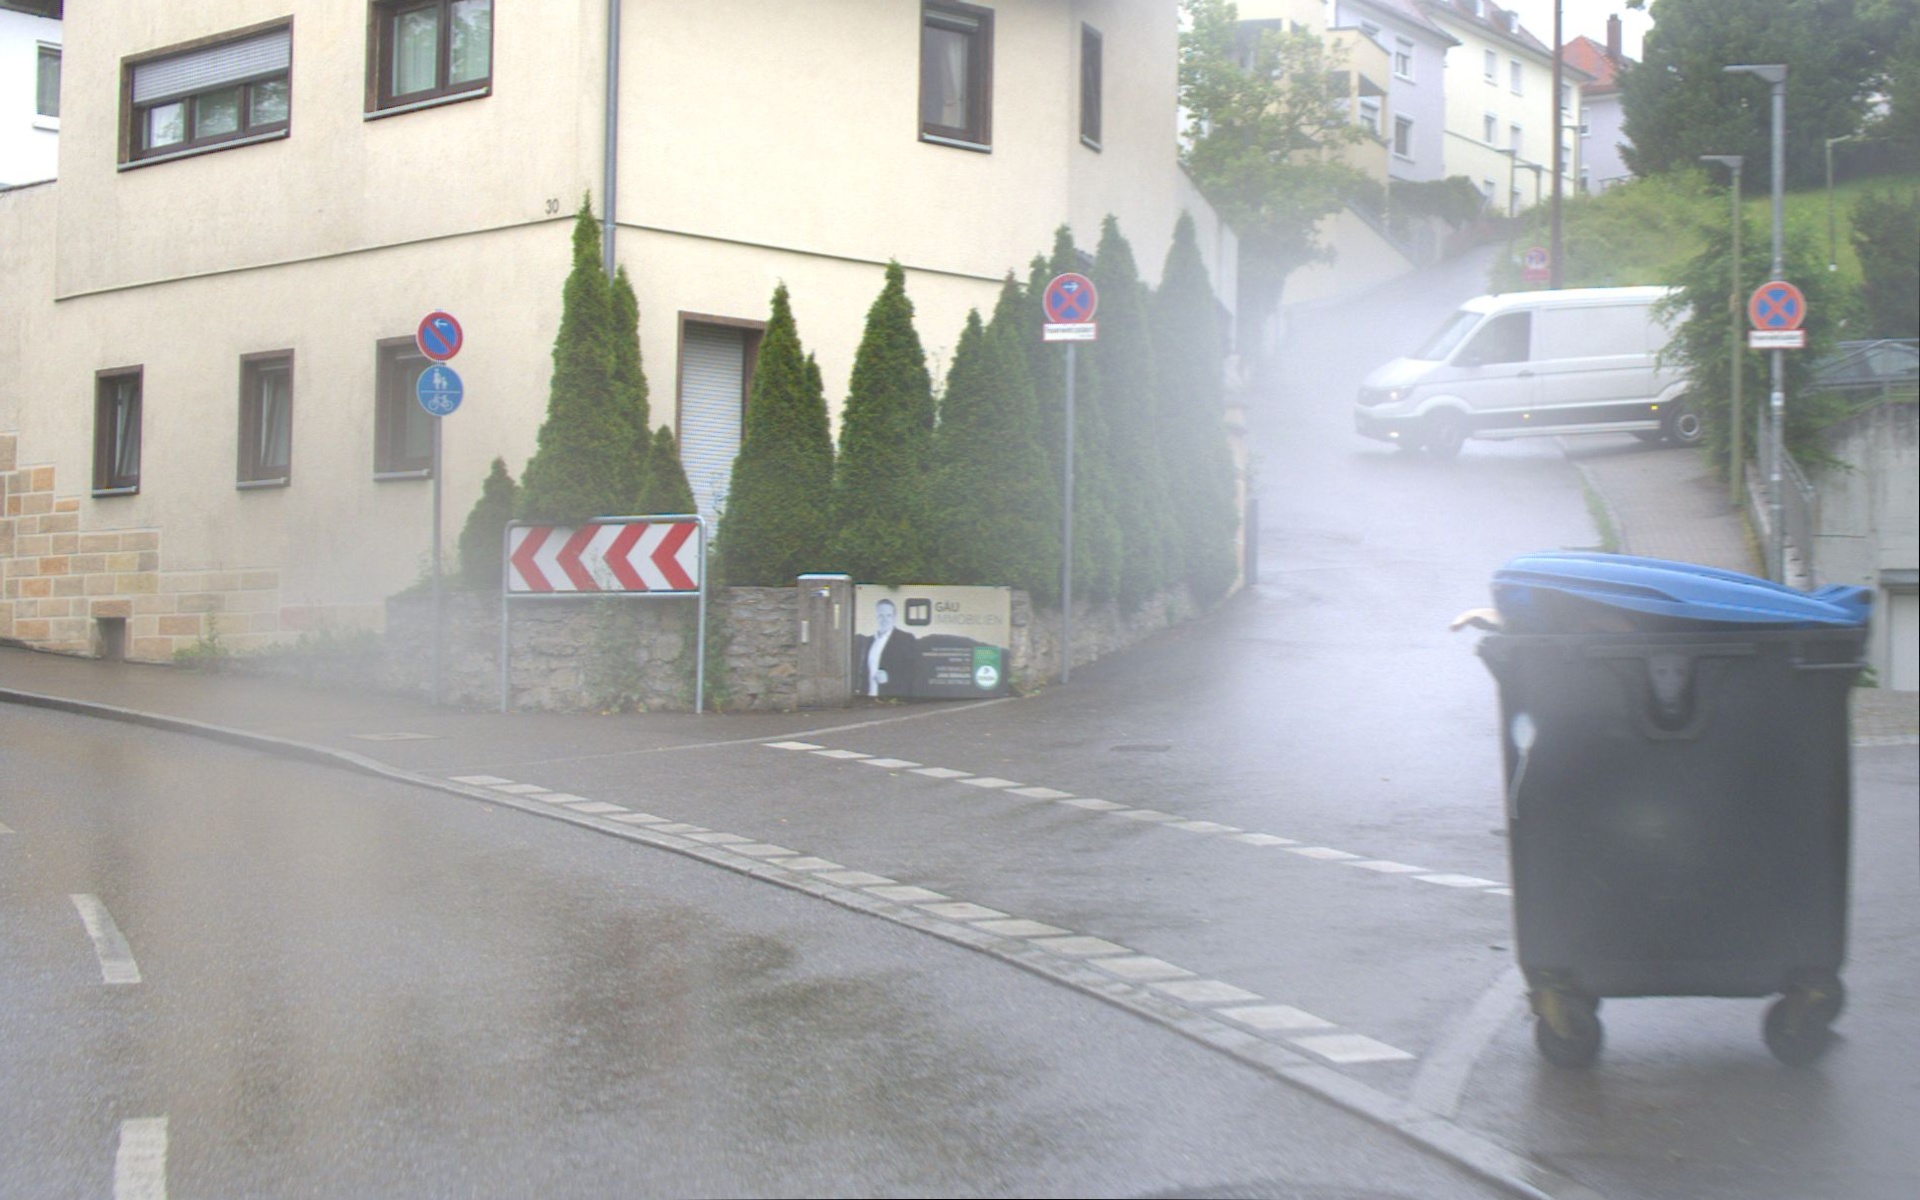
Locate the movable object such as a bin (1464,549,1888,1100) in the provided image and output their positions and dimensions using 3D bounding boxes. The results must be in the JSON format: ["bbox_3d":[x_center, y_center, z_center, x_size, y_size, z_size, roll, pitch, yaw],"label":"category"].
[{"bbox_3d":[2.022,0.585,9.879,1.082,1.437,1.457,1,1,10],"label":"movable object such as a bin"}]

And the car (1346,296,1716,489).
[{"bbox_3d":[8.314,-3.009,50.298,4.942,2.560,1.905,-2,0,-5],"label":"car"}]

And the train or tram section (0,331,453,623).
[{"bbox_3d":[-9.416,-1.383,40.505,2.364,3.192,6.853,0,1,42],"label":"train or tram section"}]
